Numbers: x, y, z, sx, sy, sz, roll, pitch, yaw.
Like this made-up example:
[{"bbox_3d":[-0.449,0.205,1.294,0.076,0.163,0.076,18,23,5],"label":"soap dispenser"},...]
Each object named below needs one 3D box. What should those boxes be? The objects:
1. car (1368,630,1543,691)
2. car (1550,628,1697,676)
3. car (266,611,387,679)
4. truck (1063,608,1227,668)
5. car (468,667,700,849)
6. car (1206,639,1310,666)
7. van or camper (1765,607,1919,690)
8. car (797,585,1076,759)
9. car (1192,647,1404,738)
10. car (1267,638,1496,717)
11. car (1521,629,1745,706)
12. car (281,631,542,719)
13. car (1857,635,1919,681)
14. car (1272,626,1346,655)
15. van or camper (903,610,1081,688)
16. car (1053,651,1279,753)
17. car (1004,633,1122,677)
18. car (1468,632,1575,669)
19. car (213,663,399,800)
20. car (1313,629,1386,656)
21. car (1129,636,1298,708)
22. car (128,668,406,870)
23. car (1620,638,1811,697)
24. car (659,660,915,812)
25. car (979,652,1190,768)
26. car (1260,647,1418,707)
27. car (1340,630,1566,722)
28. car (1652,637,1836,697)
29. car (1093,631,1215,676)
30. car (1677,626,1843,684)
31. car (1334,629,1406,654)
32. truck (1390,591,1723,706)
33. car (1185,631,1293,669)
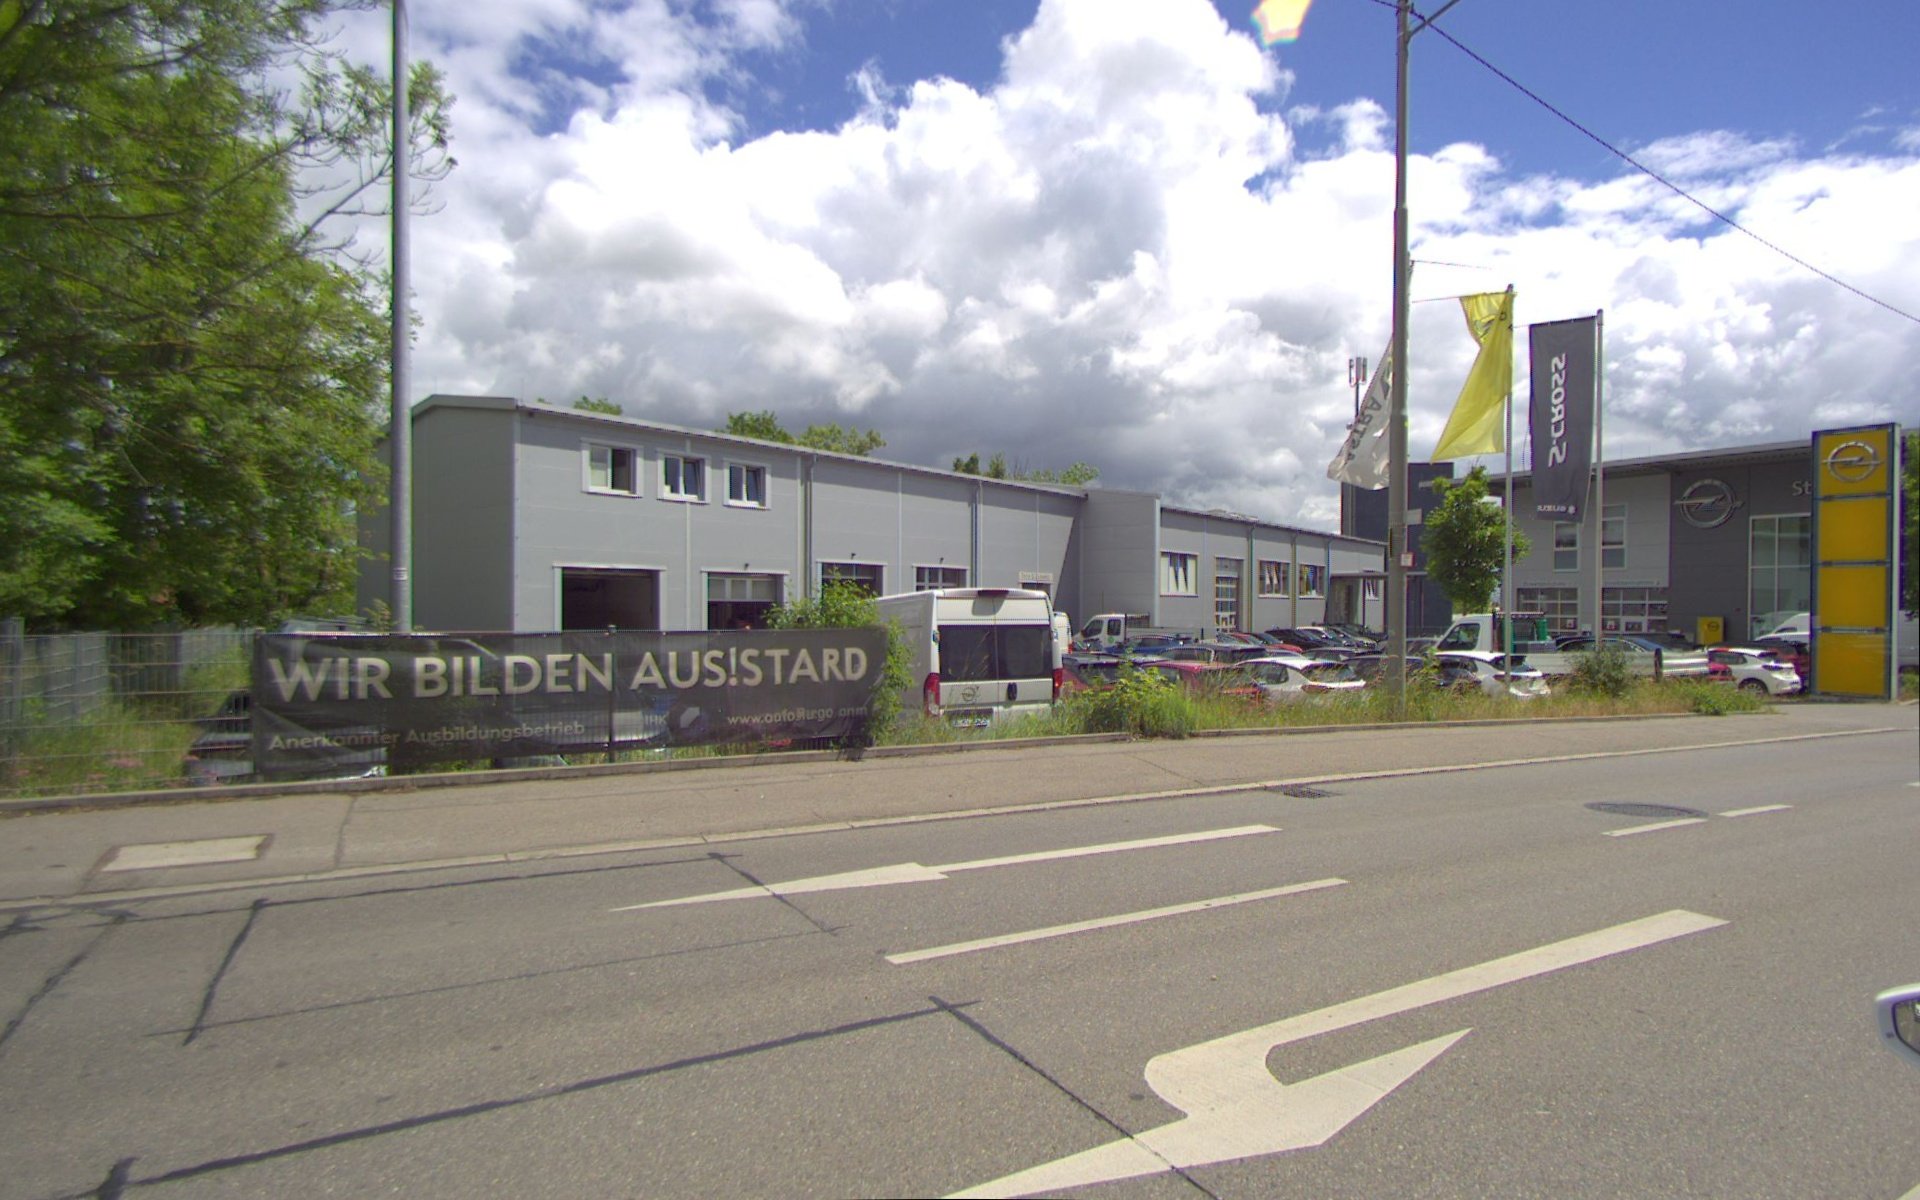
[{"bbox_3d":[13.709,1.671,28.039,1.805,1.542,4.061,0,-3,-30],"label":"car"},{"bbox_3d":[24.735,1.925,37.598,1.906,1.556,4.208,3,-1,-30],"label":"car"},{"bbox_3d":[-17.821,1.198,28.185,4.114,1.751,1.833,0,-1,42],"label":"car"},{"bbox_3d":[7.628,1.544,41.873,6.219,2.258,2.689,0,-2,40],"label":"truck"},{"bbox_3d":[-4.375,1.580,11.292,1.905,1.404,4.016,3,-1,-28],"label":"car"},{"bbox_3d":[13.664,2.380,46.151,4.228,1.037,1.787,1,-1,37],"label":"car"},{"bbox_3d":[30.316,1.548,33.436,2.290,2.565,5.003,0,0,-30],"label":"van or camper"},{"bbox_3d":[-0.498,0.841,14.146,2.174,2.040,4.138,0,0,-31],"label":"car"},{"bbox_3d":[6.064,1.627,18.406,1.688,1.342,3.534,2,-1,-26],"label":"car"},{"bbox_3d":[8.044,1.444,19.460,1.906,1.227,3.700,3,-1,-29],"label":"car"},{"bbox_3d":[15.590,1.547,23.486,1.732,1.609,3.971,0,-3,-28],"label":"car"},{"bbox_3d":[-11.972,1.574,22.249,4.854,1.751,1.829,1,-1,-28],"label":"car"},{"bbox_3d":[34.198,2.042,34.675,4.387,1.529,1.944,1,-2,19],"label":"car"},{"bbox_3d":[18.882,2.140,54.344,3.429,1.417,1.653,0,0,43],"label":"car"},{"bbox_3d":[0.985,1.537,33.979,5.817,2.387,2.489,0,0,42],"label":"van or camper"},{"bbox_3d":[3.524,1.724,17.939,1.903,1.404,4.020,3,-1,-26],"label":"car"},{"bbox_3d":[3.946,2.081,38.815,4.177,1.428,1.919,1,1,40],"label":"car"},{"bbox_3d":[24.410,2.168,43.761,1.828,1.417,3.672,0,0,-35],"label":"car"},{"bbox_3d":[-9.070,1.723,14.246,1.802,1.404,4.016,3,-1,-28],"label":"car"},{"bbox_3d":[21.468,2.319,55.417,3.429,1.301,1.653,0,0,43],"label":"car"},{"bbox_3d":[5.859,1.641,23.577,1.814,1.427,3.664,3,-1,-29],"label":"car"},{"bbox_3d":[-6.888,1.540,10.438,1.905,1.404,4.016,3,-1,-29],"label":"car"},{"bbox_3d":[21.706,1.915,29.009,1.977,1.427,3.967,3,-1,-31],"label":"car"},{"bbox_3d":[-2.380,1.586,12.935,1.907,1.404,4.012,3,-1,-31],"label":"car"},{"bbox_3d":[1.818,1.614,15.610,1.704,1.427,3.326,2,-1,-26],"label":"car"},{"bbox_3d":[10.055,2.016,26.925,1.626,1.346,3.805,3,-1,-29],"label":"car"},{"bbox_3d":[10.286,1.537,21.231,1.906,1.630,3.867,3,-1,-29],"label":"car"},{"bbox_3d":[23.658,1.957,30.459,1.974,1.511,3.973,0,0,-27],"label":"car"},{"bbox_3d":[7.410,2.020,38.560,4.175,1.516,1.921,1,-1,38],"label":"car"},{"bbox_3d":[27.084,1.794,34.161,1.972,1.729,3.976,0,0,-24],"label":"car"},{"bbox_3d":[23.191,2.325,56.872,3.429,1.301,1.653,0,0,43],"label":"car"},{"bbox_3d":[12.797,1.007,22.050,2.450,2.176,5.829,3,-2,-32],"label":"truck"},{"bbox_3d":[12.279,2.173,44.296,4.174,1.427,1.921,1,-1,37],"label":"car"}]
